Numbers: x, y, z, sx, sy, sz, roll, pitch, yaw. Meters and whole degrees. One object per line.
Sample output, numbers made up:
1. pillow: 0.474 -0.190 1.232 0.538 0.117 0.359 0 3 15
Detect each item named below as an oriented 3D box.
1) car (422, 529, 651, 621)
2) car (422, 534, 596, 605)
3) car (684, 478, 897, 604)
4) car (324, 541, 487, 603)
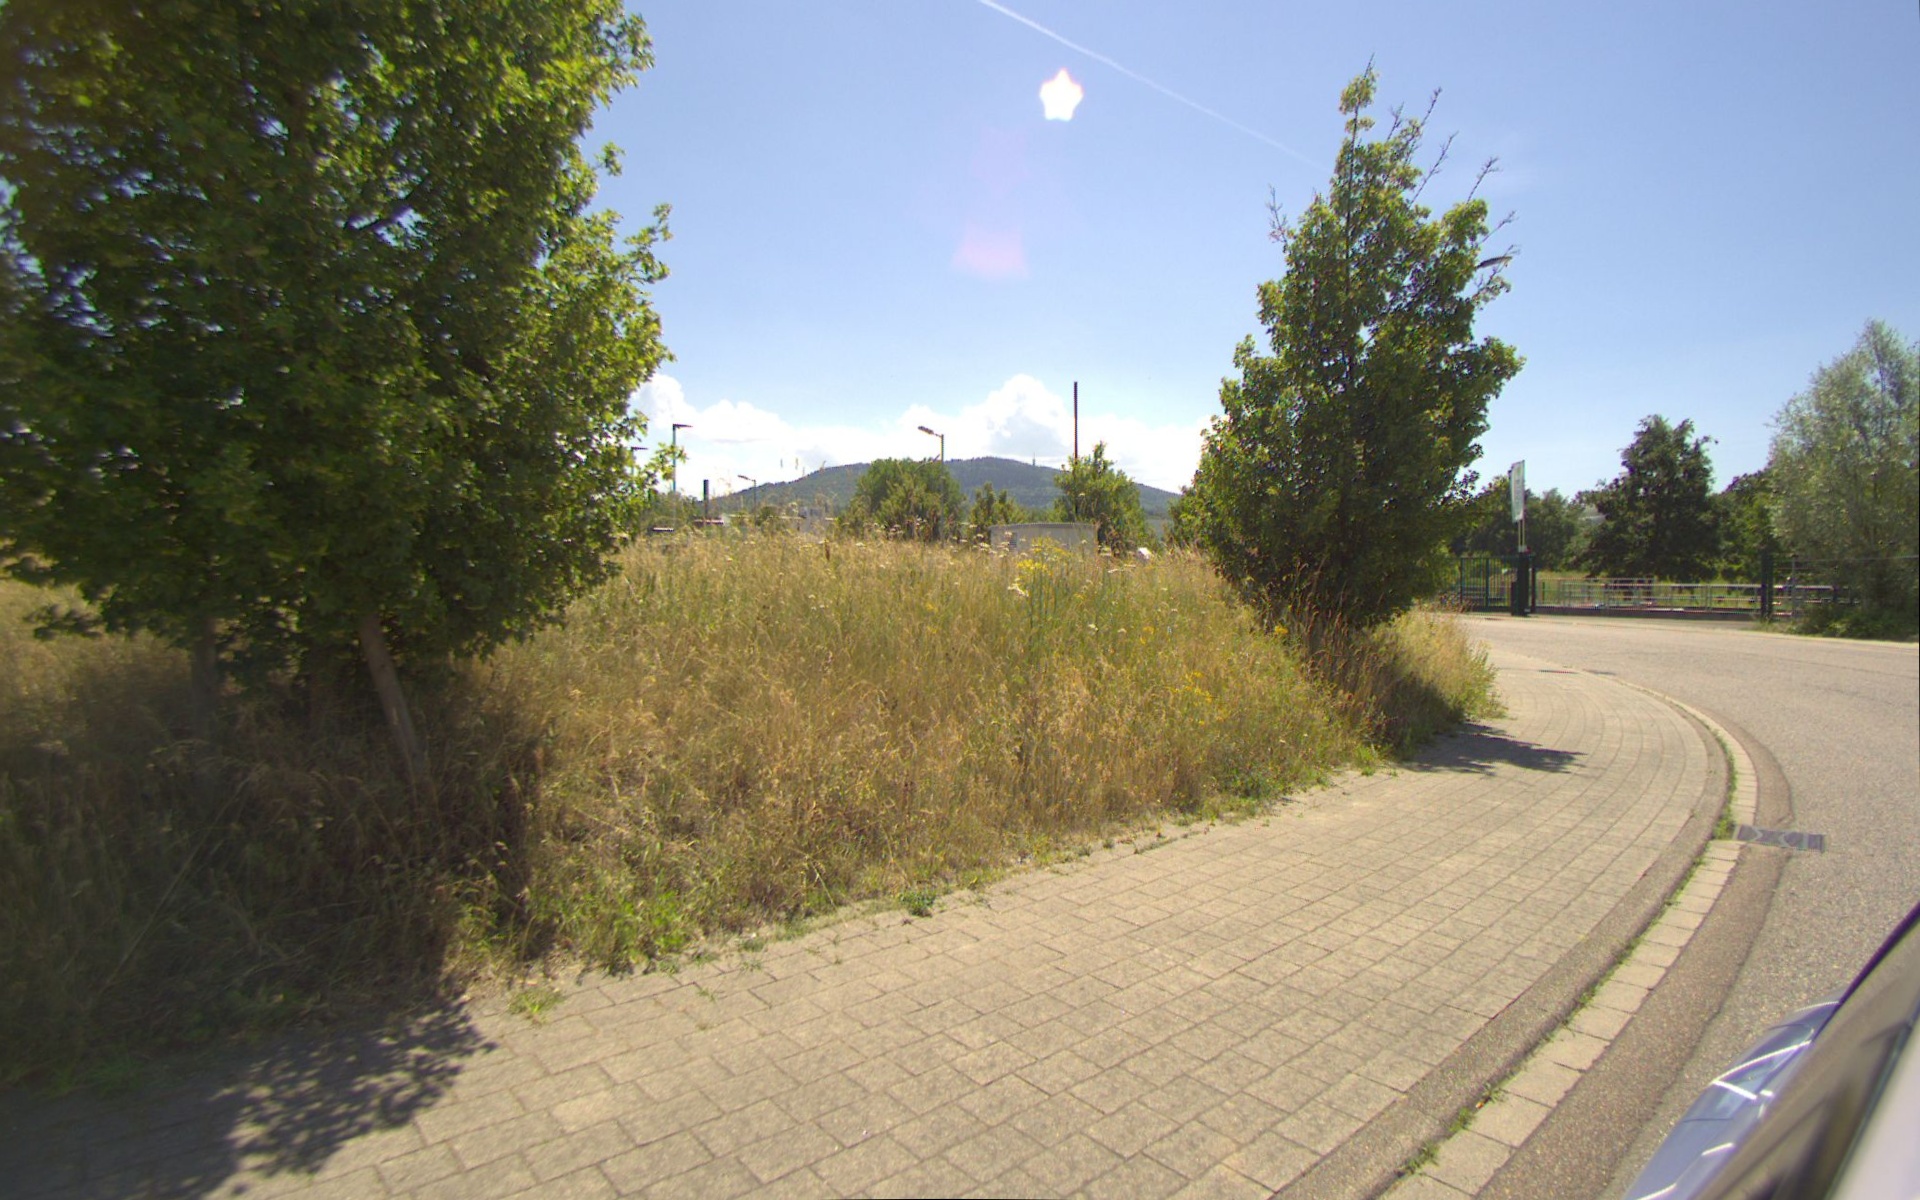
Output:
1. car: -9.151 -0.582 21.944 4.314 1.808 1.956 -2 2 -31
2. car: -12.779 -0.895 28.710 4.313 1.890 2.003 -2 2 -29
3. car: -4.058 -1.391 24.298 4.654 2.777 2.004 -2 2 -25
4. car: -17.280 -0.915 31.691 4.313 1.808 2.003 -2 2 -29
